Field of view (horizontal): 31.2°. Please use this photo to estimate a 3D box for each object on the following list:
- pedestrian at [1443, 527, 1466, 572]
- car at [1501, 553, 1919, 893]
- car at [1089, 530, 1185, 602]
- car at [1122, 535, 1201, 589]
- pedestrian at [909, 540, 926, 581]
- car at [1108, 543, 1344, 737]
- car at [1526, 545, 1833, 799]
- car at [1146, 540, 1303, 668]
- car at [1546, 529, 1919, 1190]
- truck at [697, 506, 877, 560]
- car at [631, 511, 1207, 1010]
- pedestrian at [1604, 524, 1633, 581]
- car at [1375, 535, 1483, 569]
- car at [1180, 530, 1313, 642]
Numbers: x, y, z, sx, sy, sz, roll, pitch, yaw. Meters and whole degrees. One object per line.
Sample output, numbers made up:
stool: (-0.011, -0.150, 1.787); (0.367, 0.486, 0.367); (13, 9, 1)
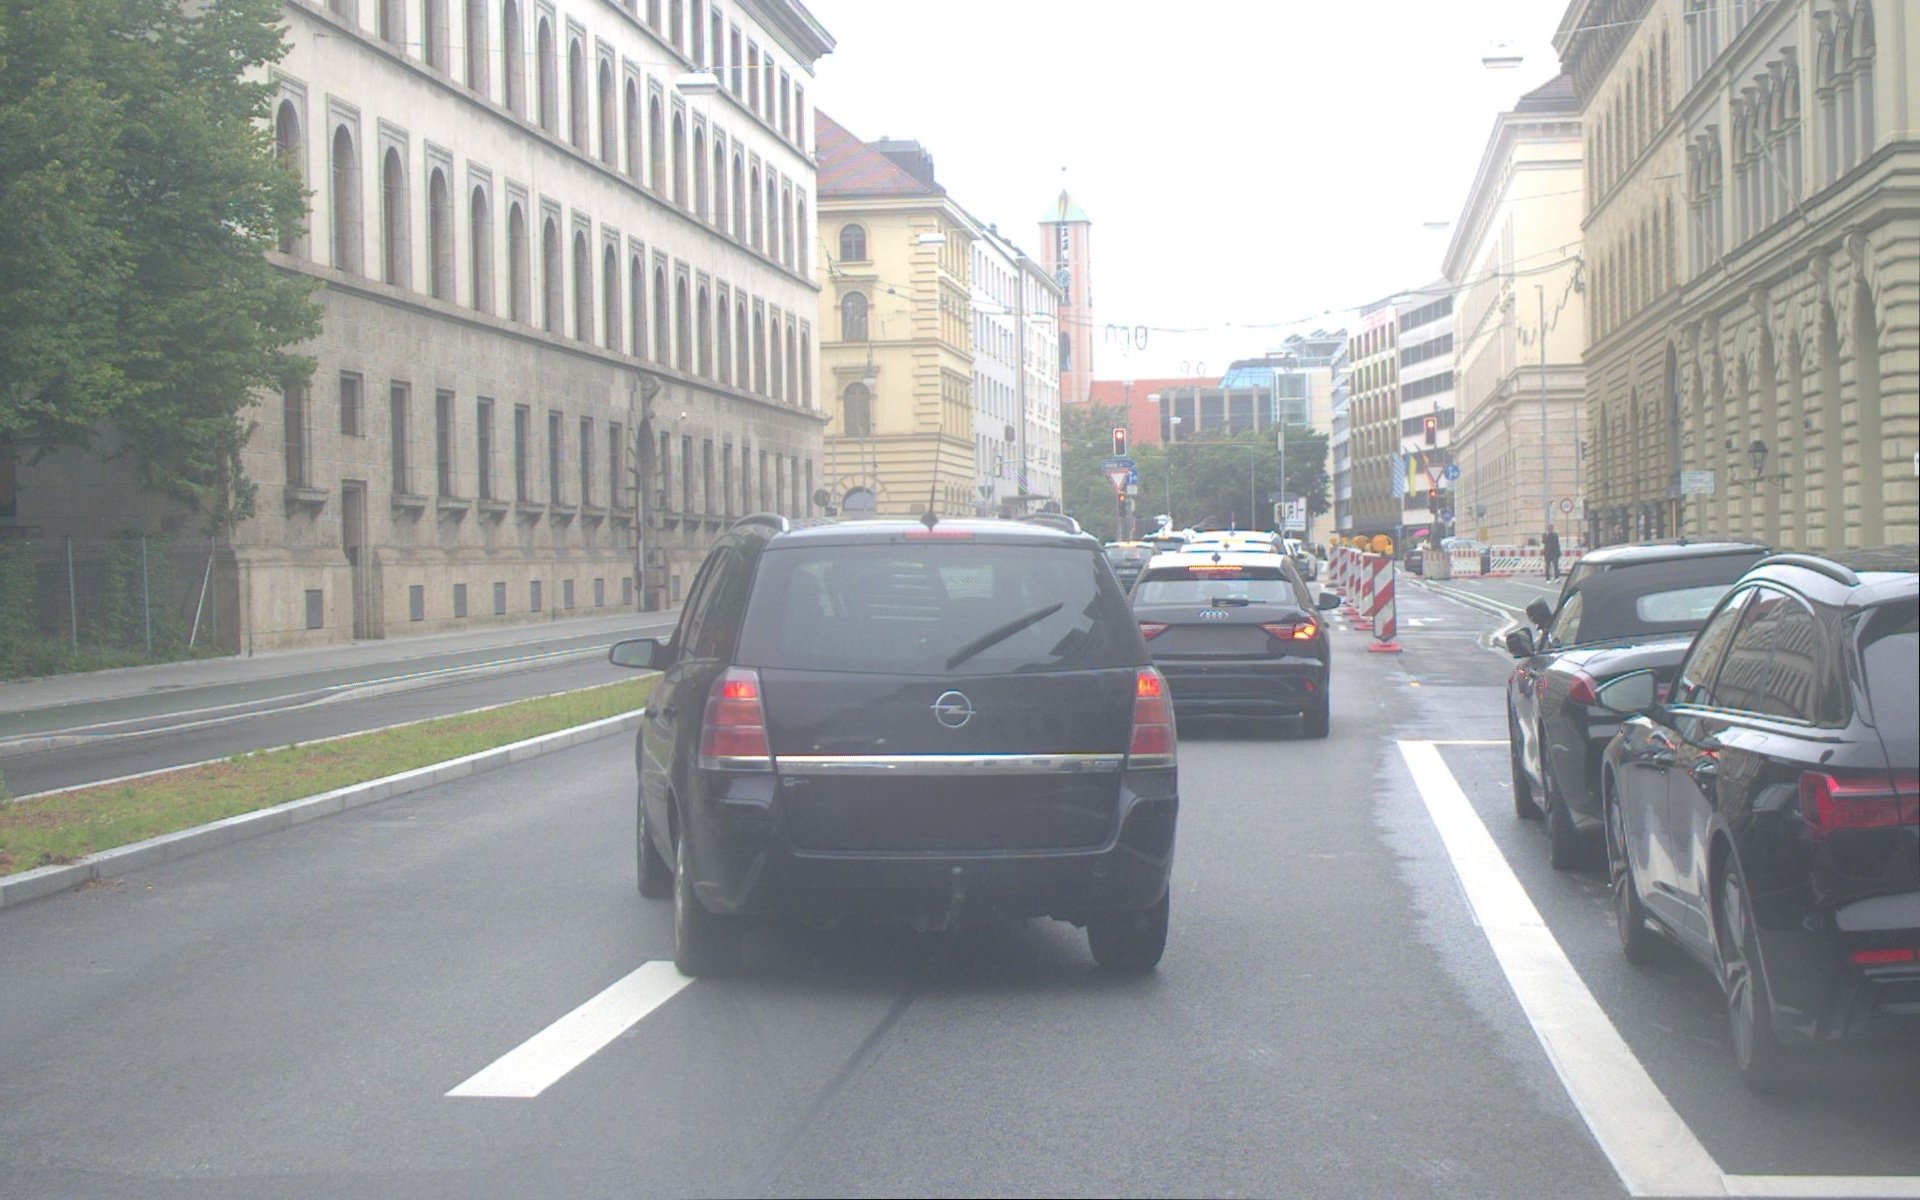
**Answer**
pedestrian: (18.068, -1.857, 125.560); (0.752, 1.612, 0.712); (-1, 1, 14)
car: (3.682, 0.489, 17.008); (1.826, 1.402, 4.718); (0, 1, 7)
car: (4.184, -0.813, 80.830); (1.994, 1.622, 3.999); (-1, 1, 6)
car: (5.669, -1.077, 96.366); (1.994, 1.439, 3.999); (-1, 1, 6)
pedestrian: (-1.887, -1.747, 152.205); (0.656, 1.799, 0.727); (-1, 1, 6)
car: (2.161, 0.258, 27.347); (1.730, 1.398, 3.999); (0, 1, 6)
car: (4.694, 0.407, 22.858); (1.675, 1.515, 3.828); (0, 1, 7)
car: (3.140, 0.006, 40.287); (1.730, 1.398, 3.999); (0, 1, 6)
car: (2.966, 0.560, 10.428); (1.809, 1.475, 4.462); (-5, 1, 4)
truck: (-7.365, -2.854, 146.575); (7.389, 2.245, 2.179); (1, 1, 9)
car: (-0.315, 0.473, 13.194); (1.764, 1.610, 4.031); (0, 1, -7)
pedestrian: (18.814, -1.368, 98.233); (0.710, 1.612, 0.754); (-1, 1, 6)
car: (18.025, -1.844, 132.136); (3.796, 1.218, 2.000); (-2, 1, -37)
car: (3.962, -0.221, 47.087); (1.730, 1.456, 3.999); (0, 1, 6)
